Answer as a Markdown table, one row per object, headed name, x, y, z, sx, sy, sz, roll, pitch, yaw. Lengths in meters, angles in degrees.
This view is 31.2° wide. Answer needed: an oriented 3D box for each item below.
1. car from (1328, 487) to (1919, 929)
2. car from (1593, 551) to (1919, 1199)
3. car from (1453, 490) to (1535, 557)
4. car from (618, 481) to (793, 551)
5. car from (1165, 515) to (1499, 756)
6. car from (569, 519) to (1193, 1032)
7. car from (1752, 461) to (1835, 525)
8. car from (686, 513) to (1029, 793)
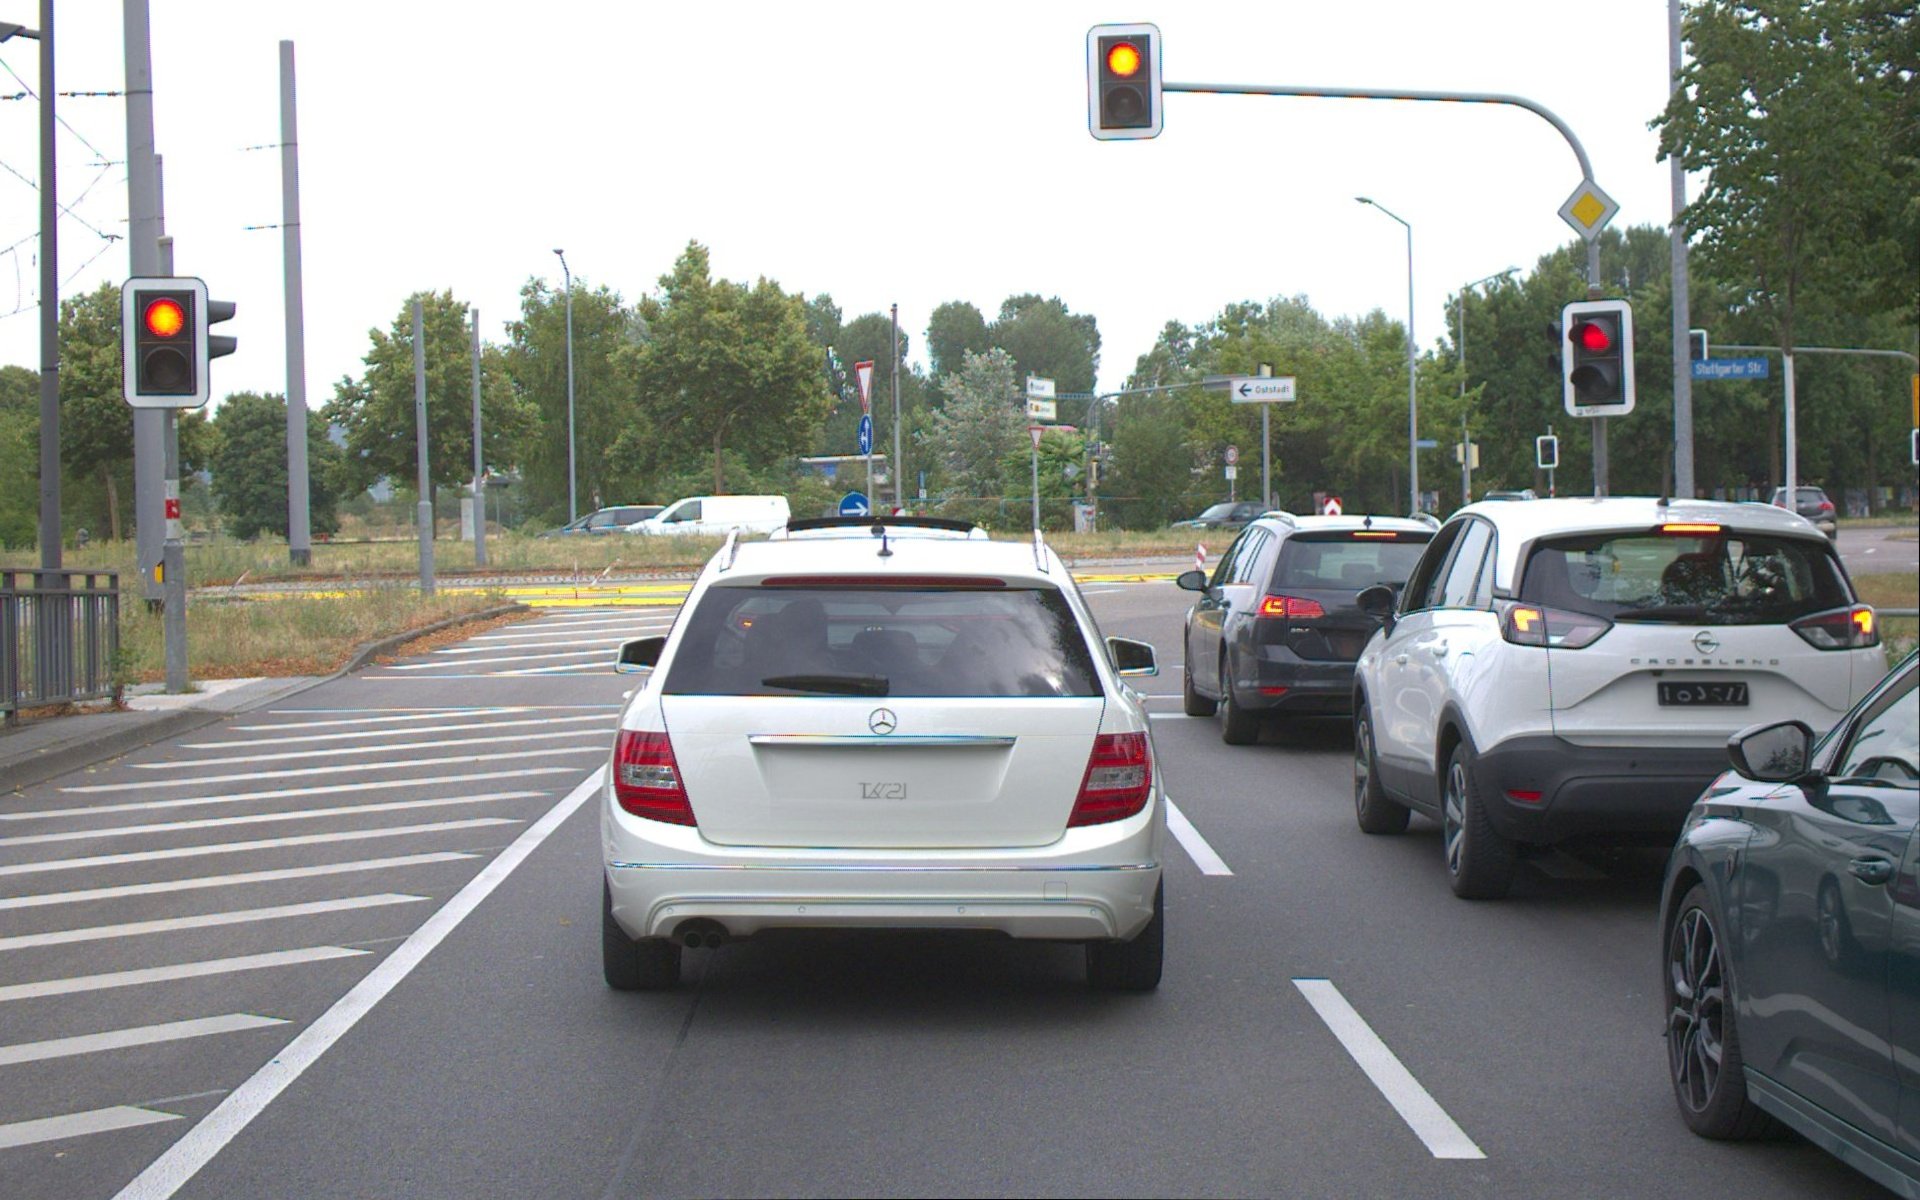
| name | x | y | z | sx | sy | sz | roll | pitch | yaw |
| --- | --- | --- | --- | --- | --- | --- | --- | --- | --- |
| car | 2.709 | 0.349 | 14.787 | 1.787 | 1.619 | 3.911 | -1 | 2 | 0 |
| car | 2.718 | 0.651 | 6.865 | 1.787 | 1.427 | 4.312 | 0 | 2 | -5 |
| car | 15.025 | -2.130 | 96.539 | 1.995 | 1.784 | 3.998 | 2 | 1 | 12 |
| car | -7.673 | -2.550 | 103.513 | 4.982 | 2.006 | 2.001 | -1 | 2 | -12 |
| car | 2.368 | 0.169 | 22.763 | 1.624 | 1.443 | 3.911 | 0 | 2 | -2 |
| car | -0.304 | 0.458 | 11.765 | 1.773 | 1.443 | 3.911 | 0 | 2 | -2 |
| car | 21.975 | -2.822 | 90.755 | 1.784 | 1.630 | 4.401 | -1 | 2 | 9 |
| car | -0.614 | 0.228 | 19.837 | 1.773 | 1.443 | 3.911 | 0 | 2 | -2 |
